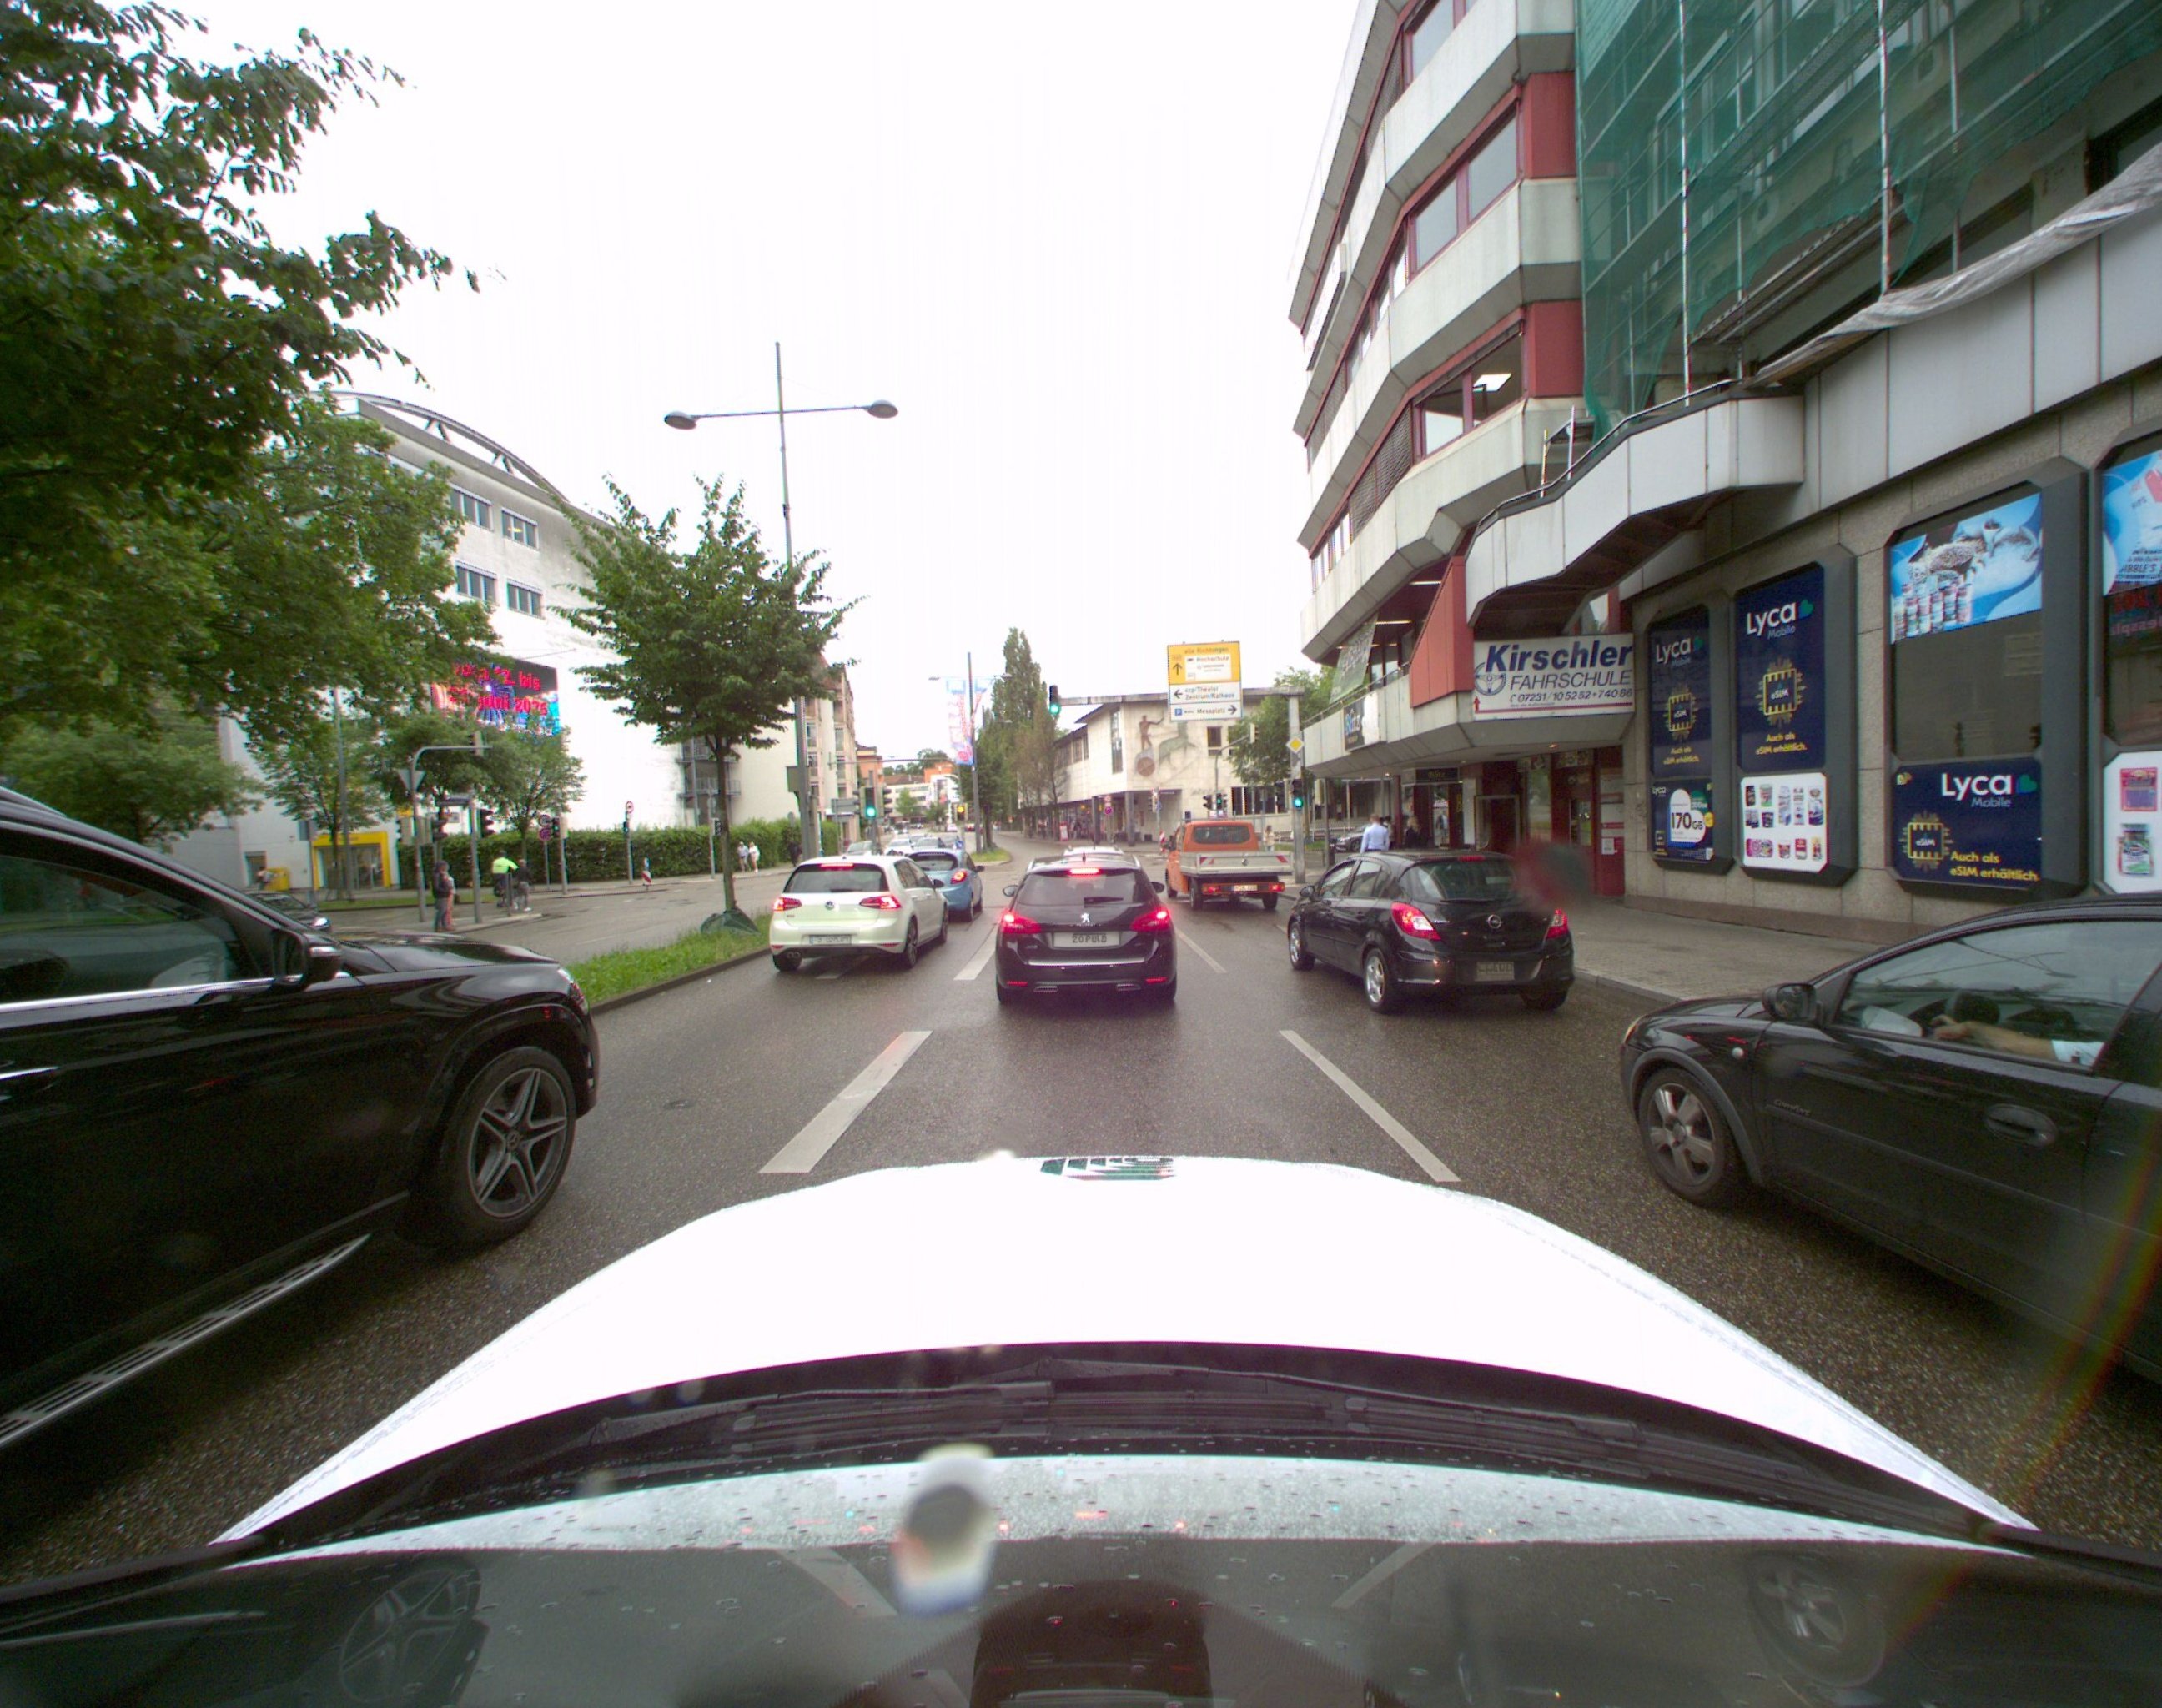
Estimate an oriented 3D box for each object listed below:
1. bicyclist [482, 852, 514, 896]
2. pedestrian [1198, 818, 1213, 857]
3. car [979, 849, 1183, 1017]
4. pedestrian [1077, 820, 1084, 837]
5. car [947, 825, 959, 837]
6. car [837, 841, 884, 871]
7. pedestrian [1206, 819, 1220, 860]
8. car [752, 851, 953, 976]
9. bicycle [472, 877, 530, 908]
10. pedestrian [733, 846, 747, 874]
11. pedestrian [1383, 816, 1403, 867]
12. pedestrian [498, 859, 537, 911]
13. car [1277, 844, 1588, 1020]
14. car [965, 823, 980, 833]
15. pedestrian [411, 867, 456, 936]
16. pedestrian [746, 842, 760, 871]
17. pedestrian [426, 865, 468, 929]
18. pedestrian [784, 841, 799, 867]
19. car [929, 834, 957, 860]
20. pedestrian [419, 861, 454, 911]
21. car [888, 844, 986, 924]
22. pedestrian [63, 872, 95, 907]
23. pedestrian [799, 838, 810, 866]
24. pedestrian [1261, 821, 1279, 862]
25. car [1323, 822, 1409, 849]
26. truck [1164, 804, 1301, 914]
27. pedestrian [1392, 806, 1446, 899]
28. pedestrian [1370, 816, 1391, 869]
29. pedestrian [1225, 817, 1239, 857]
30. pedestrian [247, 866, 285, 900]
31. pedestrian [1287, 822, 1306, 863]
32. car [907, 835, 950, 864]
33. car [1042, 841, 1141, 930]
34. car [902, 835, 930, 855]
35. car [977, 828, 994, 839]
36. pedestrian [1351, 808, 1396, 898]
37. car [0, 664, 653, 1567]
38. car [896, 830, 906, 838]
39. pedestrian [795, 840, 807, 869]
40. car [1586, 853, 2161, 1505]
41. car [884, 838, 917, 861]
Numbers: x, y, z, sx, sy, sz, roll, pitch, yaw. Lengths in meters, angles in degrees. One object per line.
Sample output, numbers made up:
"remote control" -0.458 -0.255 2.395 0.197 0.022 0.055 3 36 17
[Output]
"bicyclist" -20.885 0.723 29.178 0.629 1.530 0.609 -3 -1 1
"pedestrian" 5.689 -0.739 37.328 0.633 1.758 0.735 -1 -1 8
"car" 0.107 0.687 9.081 1.770 1.429 3.846 -1 1 3
"pedestrian" -0.053 -2.578 82.880 0.469 1.748 0.537 0 -1 -19
"car" -23.130 -4.151 146.878 1.709 1.882 3.979 0 -1 -15
"car" -11.900 0.068 44.146 1.569 1.486 3.608 -1 1 -1
"pedestrian" 6.287 -0.693 38.769 0.633 1.897 0.735 -1 -1 8
"car" -3.034 0.706 11.658 1.772 1.429 3.842 -1 1 0
"bicycle" -20.840 1.368 29.288 0.613 1.000 1.941 -3 -1 2
"pedestrian" -19.256 0.342 46.022 0.579 1.599 0.526 -1 -1 -5
"pedestrian" 10.141 -0.404 26.479 0.395 1.640 0.504 -3 -1 2
"pedestrian" -18.638 1.015 26.950 0.750 1.661 0.628 -2 2 1
"car" 3.382 0.621 8.674 1.611 1.429 3.840 -1 1 -1
"car" -19.005 -4.571 142.354 1.731 1.490 4.700 0 -1 -20
"pedestrian" -16.393 1.191 20.635 0.555 1.661 0.580 -2 2 2
"pedestrian" -18.561 0.146 46.047 0.579 1.599 0.526 -1 -1 -5
"pedestrian" -16.960 1.144 21.799 0.555 1.661 0.580 -2 2 2
"pedestrian" -18.334 -0.014 51.610 0.634 1.643 0.735 -1 -1 5
"car" -9.286 -0.471 55.119 1.743 1.640 3.988 0 -1 -9
"pedestrian" -22.136 1.099 27.961 0.637 1.666 0.580 -2 2 1
"car" -3.015 0.565 17.689 1.629 1.486 3.606 -1 1 -3
"pedestrian" -48.471 1.699 39.395 0.633 1.643 0.735 -1 -1 8
"pedestrian" -17.723 -0.119 52.260 0.538 1.748 0.564 -1 -1 -3
"pedestrian" 7.851 -0.514 33.827 0.633 1.659 0.735 -1 -1 8
"car" 13.982 -0.880 40.064 3.669 1.212 1.839 -1 -1 6
"truck" 3.309 0.044 18.896 2.170 2.172 5.019 -1 1 -1
"pedestrian" 7.431 -0.031 17.919 0.733 1.934 0.640 -5 -1 1
"pedestrian" 9.613 -0.374 26.186 0.424 1.682 0.450 -3 -1 0
"pedestrian" 7.157 -0.798 38.596 0.633 1.897 0.735 -1 -1 8
"pedestrian" -38.774 1.387 38.761 1.059 1.578 0.683 -1 -1 -3
"pedestrian" 8.903 -0.454 33.623 0.633 1.659 0.735 -1 -1 8
"car" -8.700 -0.231 46.697 1.739 1.579 3.997 -1 -1 -1
"car" 0.242 0.515 15.963 1.690 1.486 3.795 -1 1 2
"car" -12.486 -0.697 61.769 1.630 1.486 3.604 -1 1 -4
"car" -14.203 -3.057 120.674 1.790 1.454 4.485 -5 3 -14
"pedestrian" 6.379 -0.018 17.809 0.733 1.935 0.640 -1 -1 1
"car" -3.196 0.549 1.661 1.905 1.870 5.073 -1 -1 1
"car" -45.648 -5.033 206.301 1.999 2.014 3.976 0 -1 -18
"pedestrian" -17.405 0.047 50.584 0.538 1.748 0.745 0 -1 -7
"car" 3.268 0.745 2.287 1.600 1.429 3.626 -1 1 3
"car" -12.059 -0.335 54.597 1.630 1.486 3.604 -1 1 -4
